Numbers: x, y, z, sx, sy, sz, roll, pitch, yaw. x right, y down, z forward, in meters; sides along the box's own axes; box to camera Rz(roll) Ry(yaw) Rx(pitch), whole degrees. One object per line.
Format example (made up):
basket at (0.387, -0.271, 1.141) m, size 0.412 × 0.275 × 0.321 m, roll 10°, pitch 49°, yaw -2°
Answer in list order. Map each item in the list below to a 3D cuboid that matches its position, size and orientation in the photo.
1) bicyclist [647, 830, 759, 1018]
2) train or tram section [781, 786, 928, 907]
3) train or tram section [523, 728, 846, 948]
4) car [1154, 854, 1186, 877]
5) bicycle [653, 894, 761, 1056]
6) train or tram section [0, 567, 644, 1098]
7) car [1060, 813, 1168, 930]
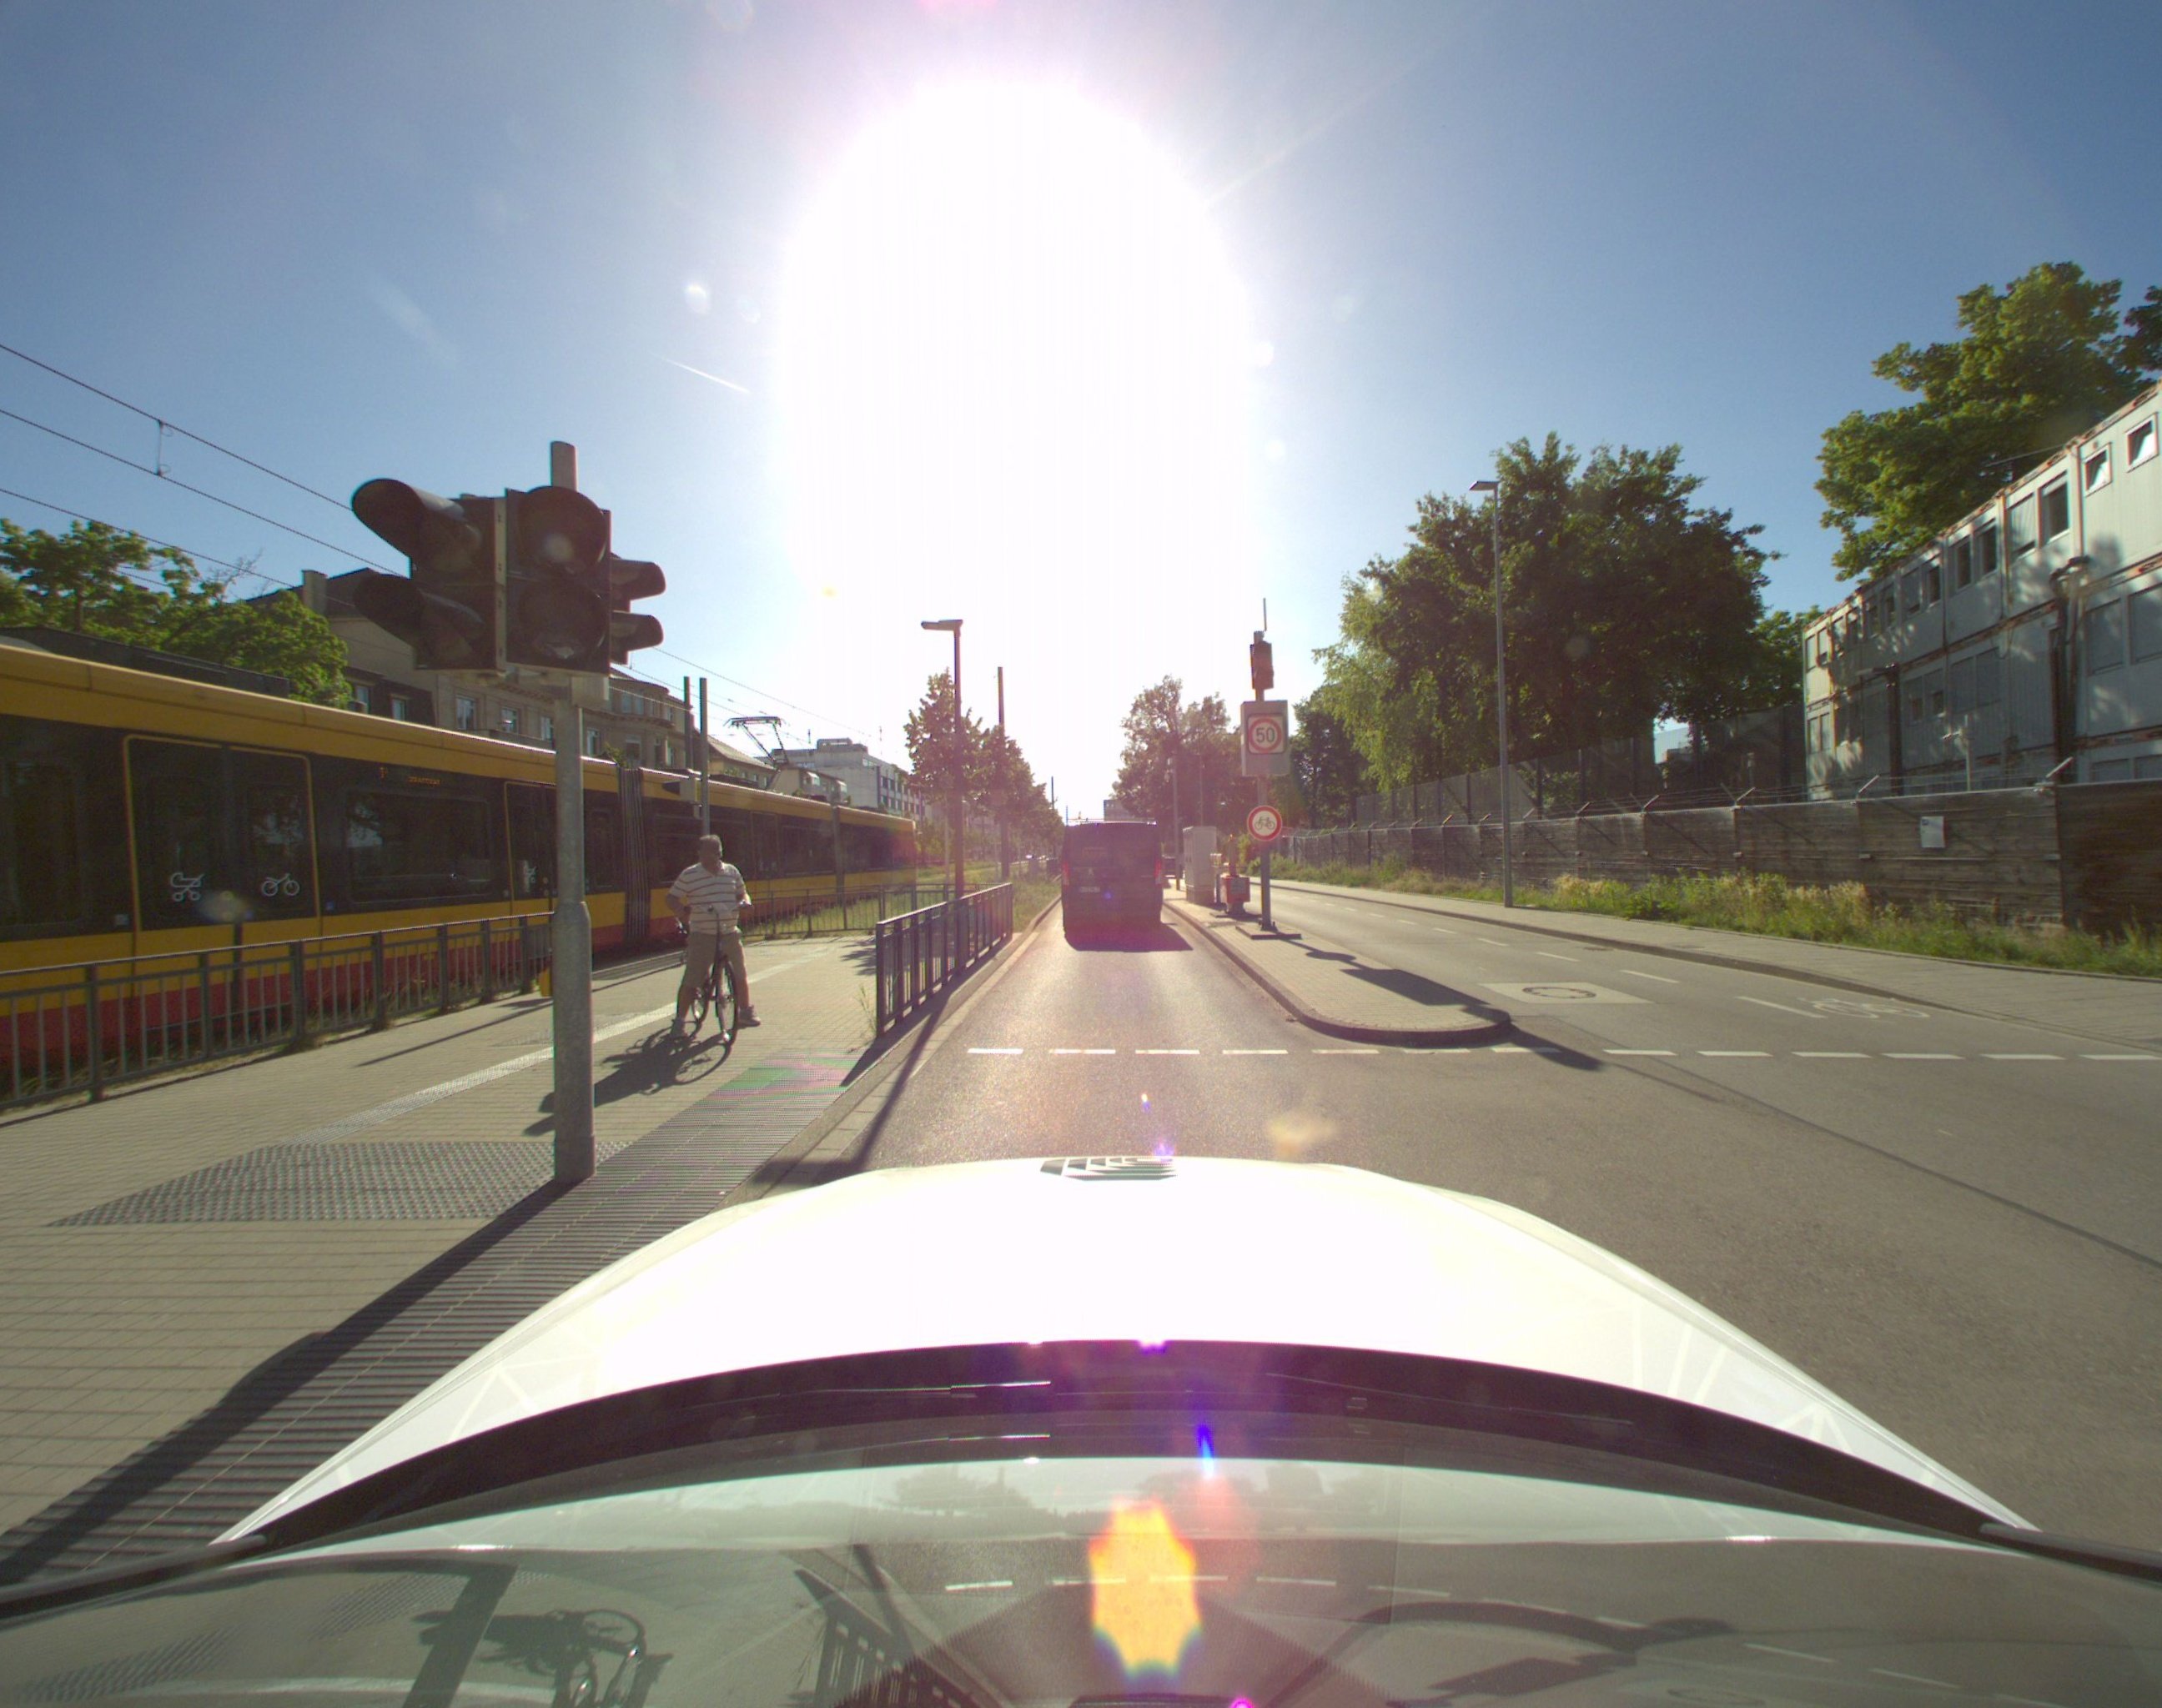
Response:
bicyclist at (-3.262, 0.559, 7.065) m, size 0.830 × 1.512 × 0.724 m, roll -1°, pitch 0°, yaw -25°
train or tram section at (-8.065, -0.213, 30.828) m, size 1.986 × 3.669 × 11.686 m, roll -1°, pitch 0°, yaw 1°
train or tram section at (-8.306, -0.254, 19.369) m, size 1.987 × 3.669 × 11.317 m, roll -1°, pitch 0°, yaw 1°
car at (6.064, 0.757, 55.851) m, size 1.758 × 1.462 × 3.998 m, roll -1°, pitch 0°, yaw -1°
bicycle at (-3.246, 0.944, 7.075) m, size 0.736 × 1.091 × 2.065 m, roll -1°, pitch 0°, yaw -25°
train or tram section at (-8.453, -0.139, 6.706) m, size 1.987 × 3.669 × 14.151 m, roll -1°, pitch 0°, yaw 0°
car at (0.671, 0.339, 17.855) m, size 2.075 × 2.249 × 4.000 m, roll -1°, pitch 0°, yaw 0°
